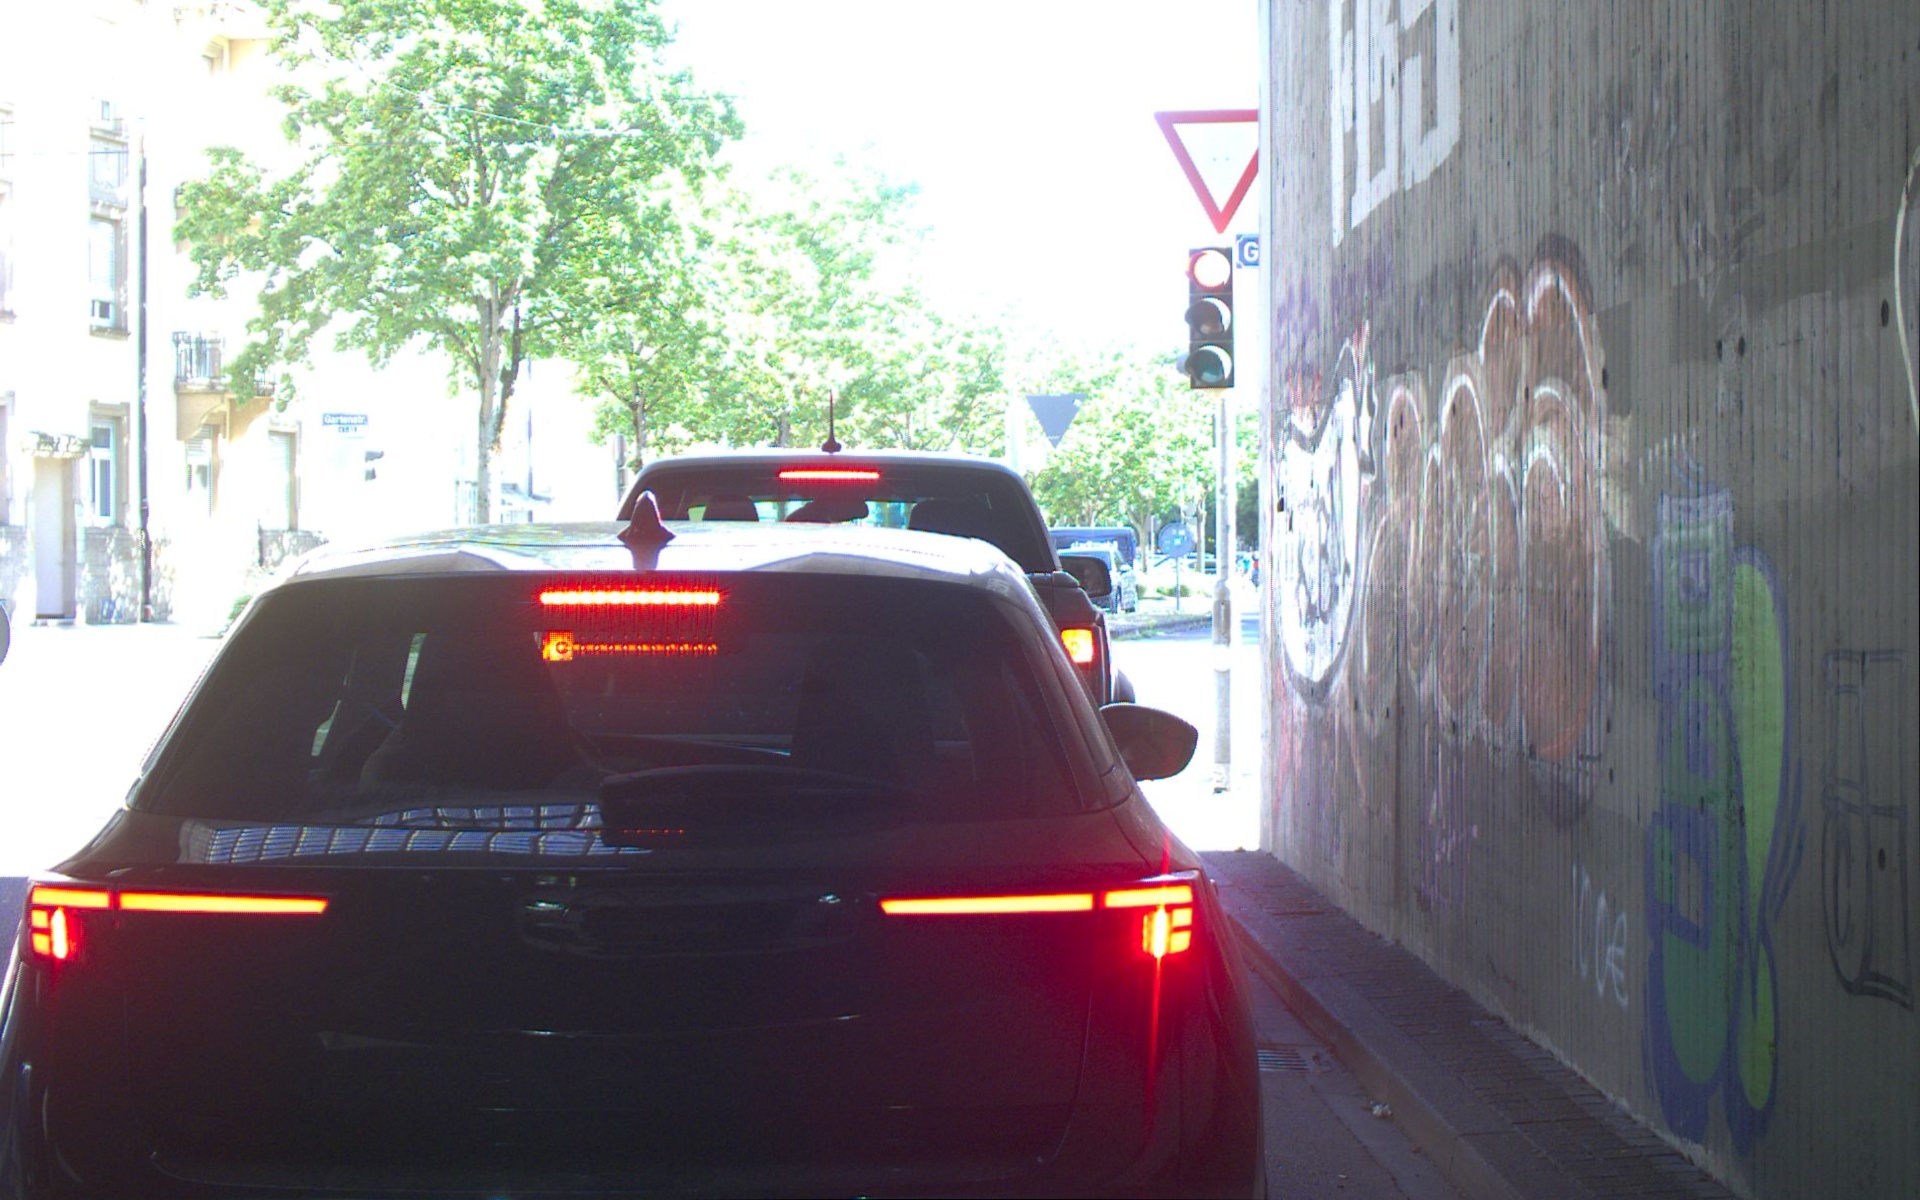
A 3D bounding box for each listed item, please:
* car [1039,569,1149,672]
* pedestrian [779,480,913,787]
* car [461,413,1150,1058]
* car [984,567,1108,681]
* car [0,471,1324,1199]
[{"bbox_3d":[2.697,0.371,68.437,1.994,1.963,4.163,1,1,5],"label":"car"},{"bbox_3d":[-0.651,0.187,19.921,0.731,1.728,0.874,1,0,-1],"label":"pedestrian"},{"bbox_3d":[-0.469,0.355,12.003,1.993,1.865,4.000,0,1,-1],"label":"car"},{"bbox_3d":[1.595,0.404,62.255,1.994,1.963,4.163,1,1,5],"label":"car"},{"bbox_3d":[-0.486,0.569,6.075,1.764,1.566,4.001,1,2,-1],"label":"car"}]
